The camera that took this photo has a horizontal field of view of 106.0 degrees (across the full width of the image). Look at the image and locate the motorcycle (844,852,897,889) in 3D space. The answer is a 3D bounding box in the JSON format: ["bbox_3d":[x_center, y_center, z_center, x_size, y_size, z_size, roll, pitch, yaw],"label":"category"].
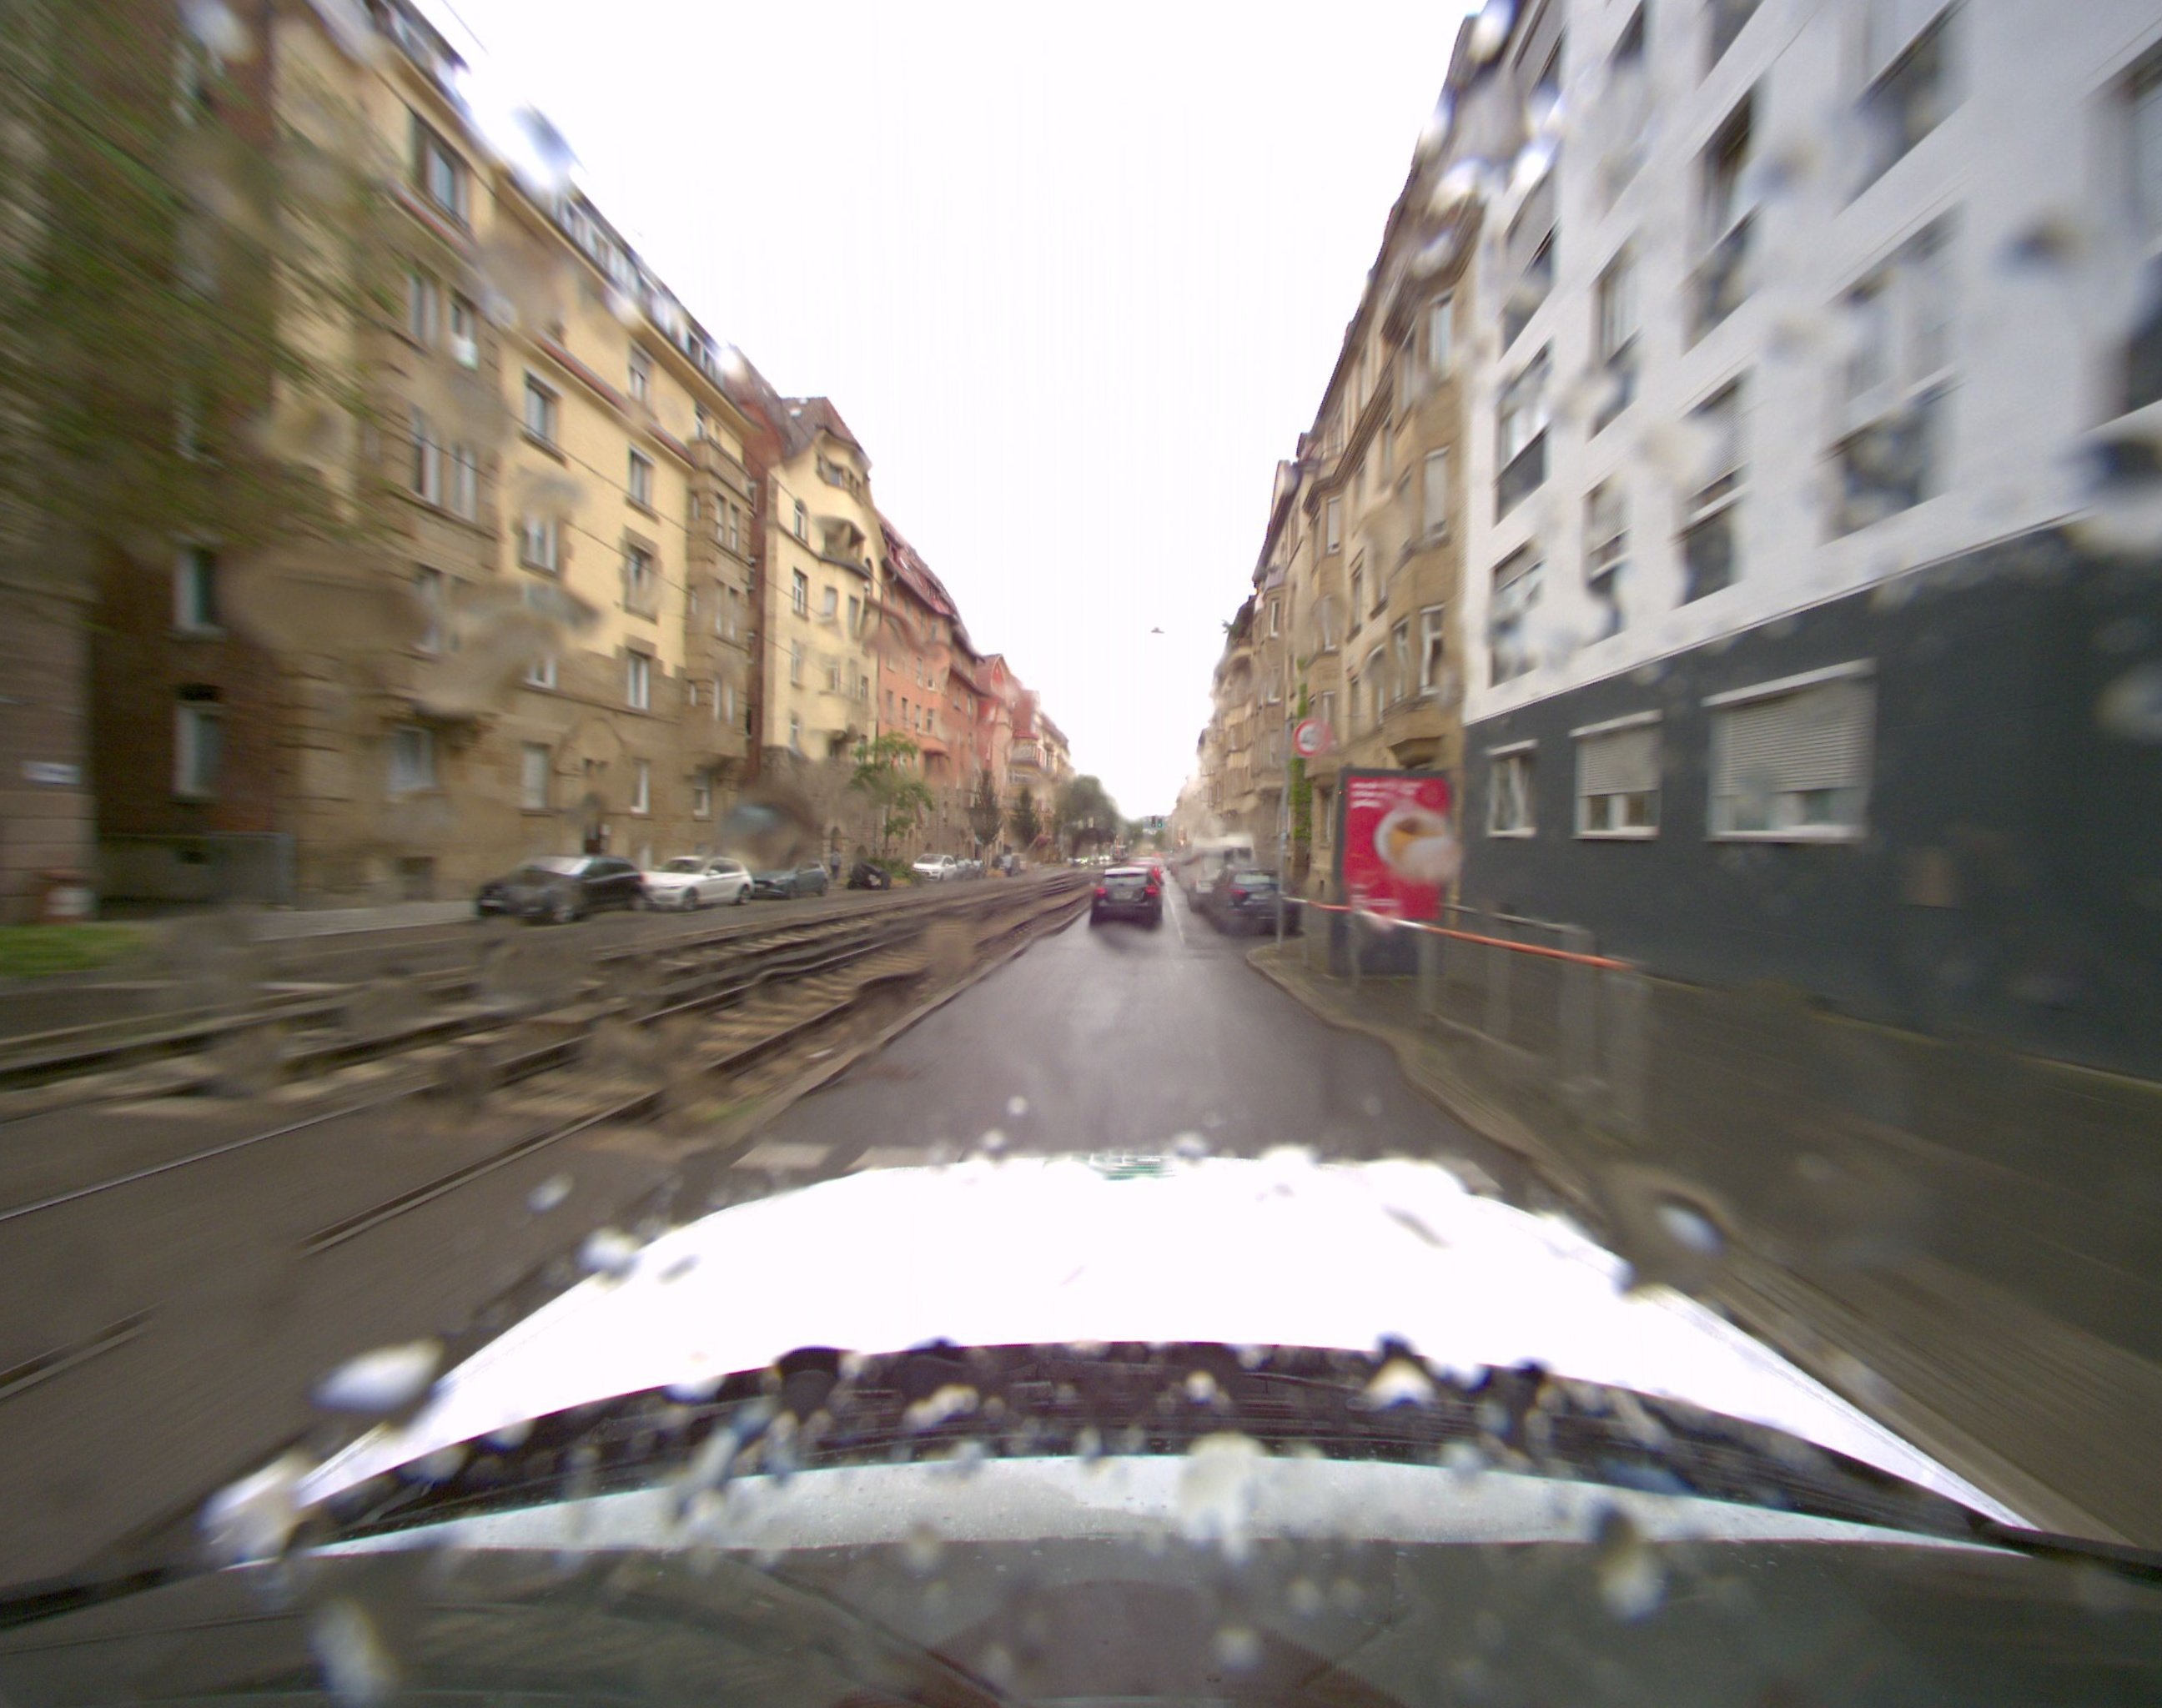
[{"bbox_3d":[-9.538,0.749,37.033,2.261,1.642,1.288,1,-1,-12],"label":"motorcycle"}]

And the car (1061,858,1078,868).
[{"bbox_3d":[-1.700,1.310,121.791,1.984,1.517,4.006,1,0,6],"label":"car"}]

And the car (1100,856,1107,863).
[{"bbox_3d":[5.370,1.332,193.331,1.789,1.548,4.001,1,0,2],"label":"car"}]

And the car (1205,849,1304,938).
[{"bbox_3d":[3.997,0.849,19.429,1.760,1.808,4.489,2,0,5],"label":"car"}]

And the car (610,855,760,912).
[{"bbox_3d":[-10.898,0.775,22.780,1.658,1.426,4.270,1,-1,7],"label":"car"}]

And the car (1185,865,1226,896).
[{"bbox_3d":[5.990,1.230,39.498,1.668,1.411,4.005,0,0,5],"label":"car"}]

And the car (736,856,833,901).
[{"bbox_3d":[-10.326,0.808,28.710,1.554,1.438,4.151,1,0,5],"label":"car"}]

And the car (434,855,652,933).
[{"bbox_3d":[-11.529,0.814,17.839,1.756,1.486,4.006,1,-1,6],"label":"car"}]

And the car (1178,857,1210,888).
[{"bbox_3d":[6.669,1.062,48.387,1.766,1.776,4.367,0,0,6],"label":"car"}]

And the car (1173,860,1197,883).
[{"bbox_3d":[8.079,1.321,63.112,1.701,1.628,4.008,2,0,7],"label":"car"}]

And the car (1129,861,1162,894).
[{"bbox_3d":[3.280,1.168,40.832,1.528,1.510,4.006,2,-1,6],"label":"car"}]

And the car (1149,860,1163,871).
[{"bbox_3d":[10.473,1.619,113.975,1.893,1.593,4.005,0,-2,5],"label":"car"}]

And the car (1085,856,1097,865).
[{"bbox_3d":[2.005,1.280,159.873,1.984,1.794,4.006,2,0,6],"label":"car"}]

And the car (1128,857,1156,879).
[{"bbox_3d":[4.699,1.066,63.420,1.915,1.655,4.000,1,0,1],"label":"car"}]

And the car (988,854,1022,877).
[{"bbox_3d":[-6.466,1.006,70.162,1.983,1.901,4.706,1,-1,6],"label":"car"}]

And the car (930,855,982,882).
[{"bbox_3d":[-8.049,0.917,52.981,1.983,1.509,4.984,3,0,7],"label":"car"}]

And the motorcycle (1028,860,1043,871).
[{"bbox_3d":[-4.942,1.245,88.312,1.423,1.134,0.624,1,-1,35],"label":"motorcycle"}]

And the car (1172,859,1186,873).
[{"bbox_3d":[14.001,1.725,116.609,1.889,2.028,4.182,0,-2,6],"label":"car"}]

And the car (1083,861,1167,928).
[{"bbox_3d":[1.173,0.979,20.943,1.937,1.565,3.647,0,-1,4],"label":"car"}]

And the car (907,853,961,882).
[{"bbox_3d":[-8.513,0.775,47.464,1.775,1.589,4.360,1,0,8],"label":"car"}]

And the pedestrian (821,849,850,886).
[{"bbox_3d":[-11.936,0.652,39.624,1.002,1.753,0.926,3,-1,5],"label":"pedestrian"}]

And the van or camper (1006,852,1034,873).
[{"bbox_3d":[-5.806,0.797,77.692,1.985,1.901,4.703,1,0,3],"label":"van or camper"}]

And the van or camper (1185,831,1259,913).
[{"bbox_3d":[4.681,0.593,27.909,2.054,2.469,6.128,1,-1,6],"label":"van or camper"}]

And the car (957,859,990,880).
[{"bbox_3d":[-7.677,1.100,58.404,1.635,1.398,3.886,1,-1,3],"label":"car"}]
